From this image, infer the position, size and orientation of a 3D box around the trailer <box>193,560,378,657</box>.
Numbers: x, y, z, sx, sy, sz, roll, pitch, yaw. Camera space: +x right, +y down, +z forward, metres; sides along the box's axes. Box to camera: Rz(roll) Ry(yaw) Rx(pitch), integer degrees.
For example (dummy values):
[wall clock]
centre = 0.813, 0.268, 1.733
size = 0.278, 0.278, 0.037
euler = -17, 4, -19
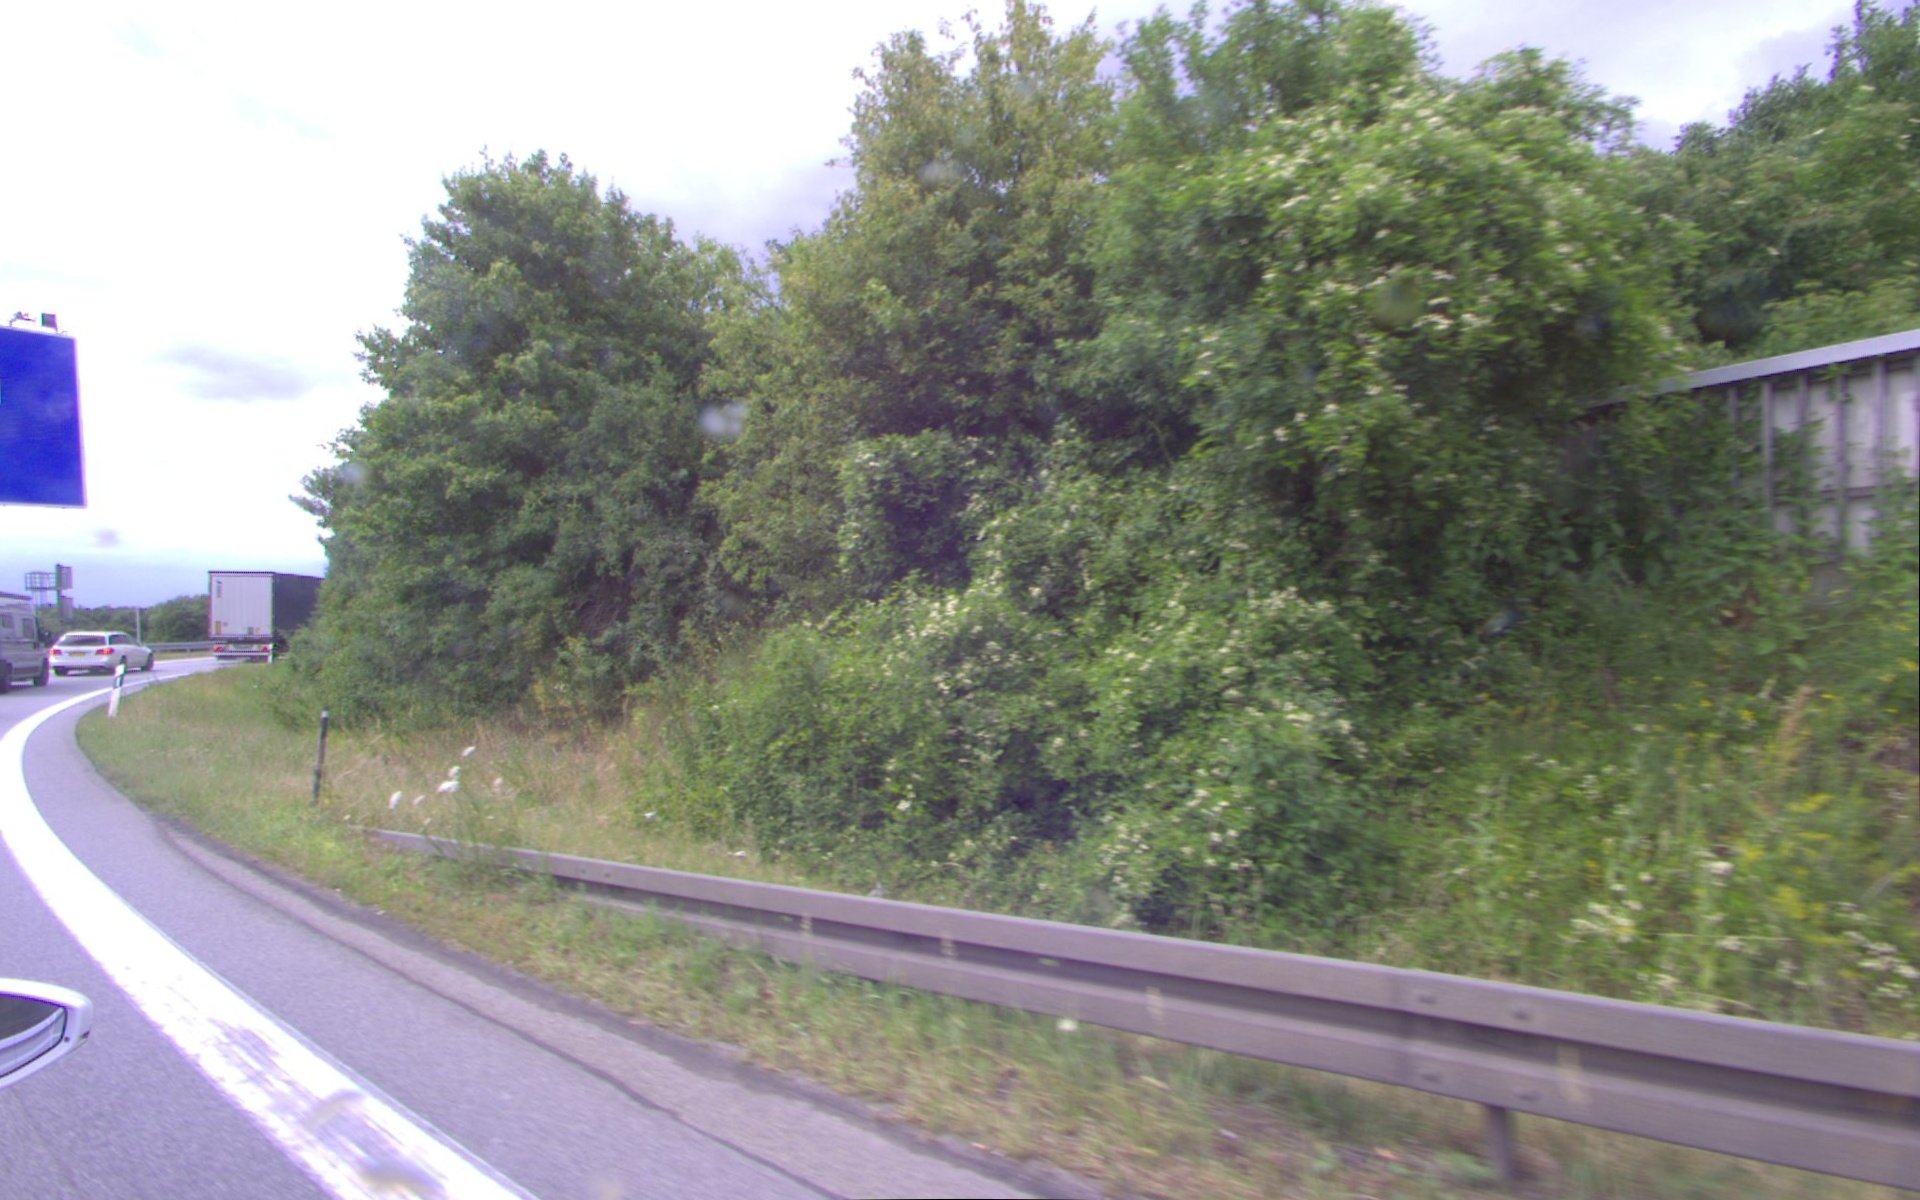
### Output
[trailer]
centre = -33.385, 0.519, 50.477
size = 3.280, 4.247, 13.020
euler = 0, -1, -13

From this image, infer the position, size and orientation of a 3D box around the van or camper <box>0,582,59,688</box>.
[van or camper]
centre = -25.993, 0.912, 26.520
size = 2.271, 2.602, 6.121
euler = 0, -1, -34

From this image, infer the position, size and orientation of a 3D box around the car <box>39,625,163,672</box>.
[car]
centre = -30.673, 1.673, 35.955
size = 2.179, 1.521, 4.769
euler = 0, -1, -25
